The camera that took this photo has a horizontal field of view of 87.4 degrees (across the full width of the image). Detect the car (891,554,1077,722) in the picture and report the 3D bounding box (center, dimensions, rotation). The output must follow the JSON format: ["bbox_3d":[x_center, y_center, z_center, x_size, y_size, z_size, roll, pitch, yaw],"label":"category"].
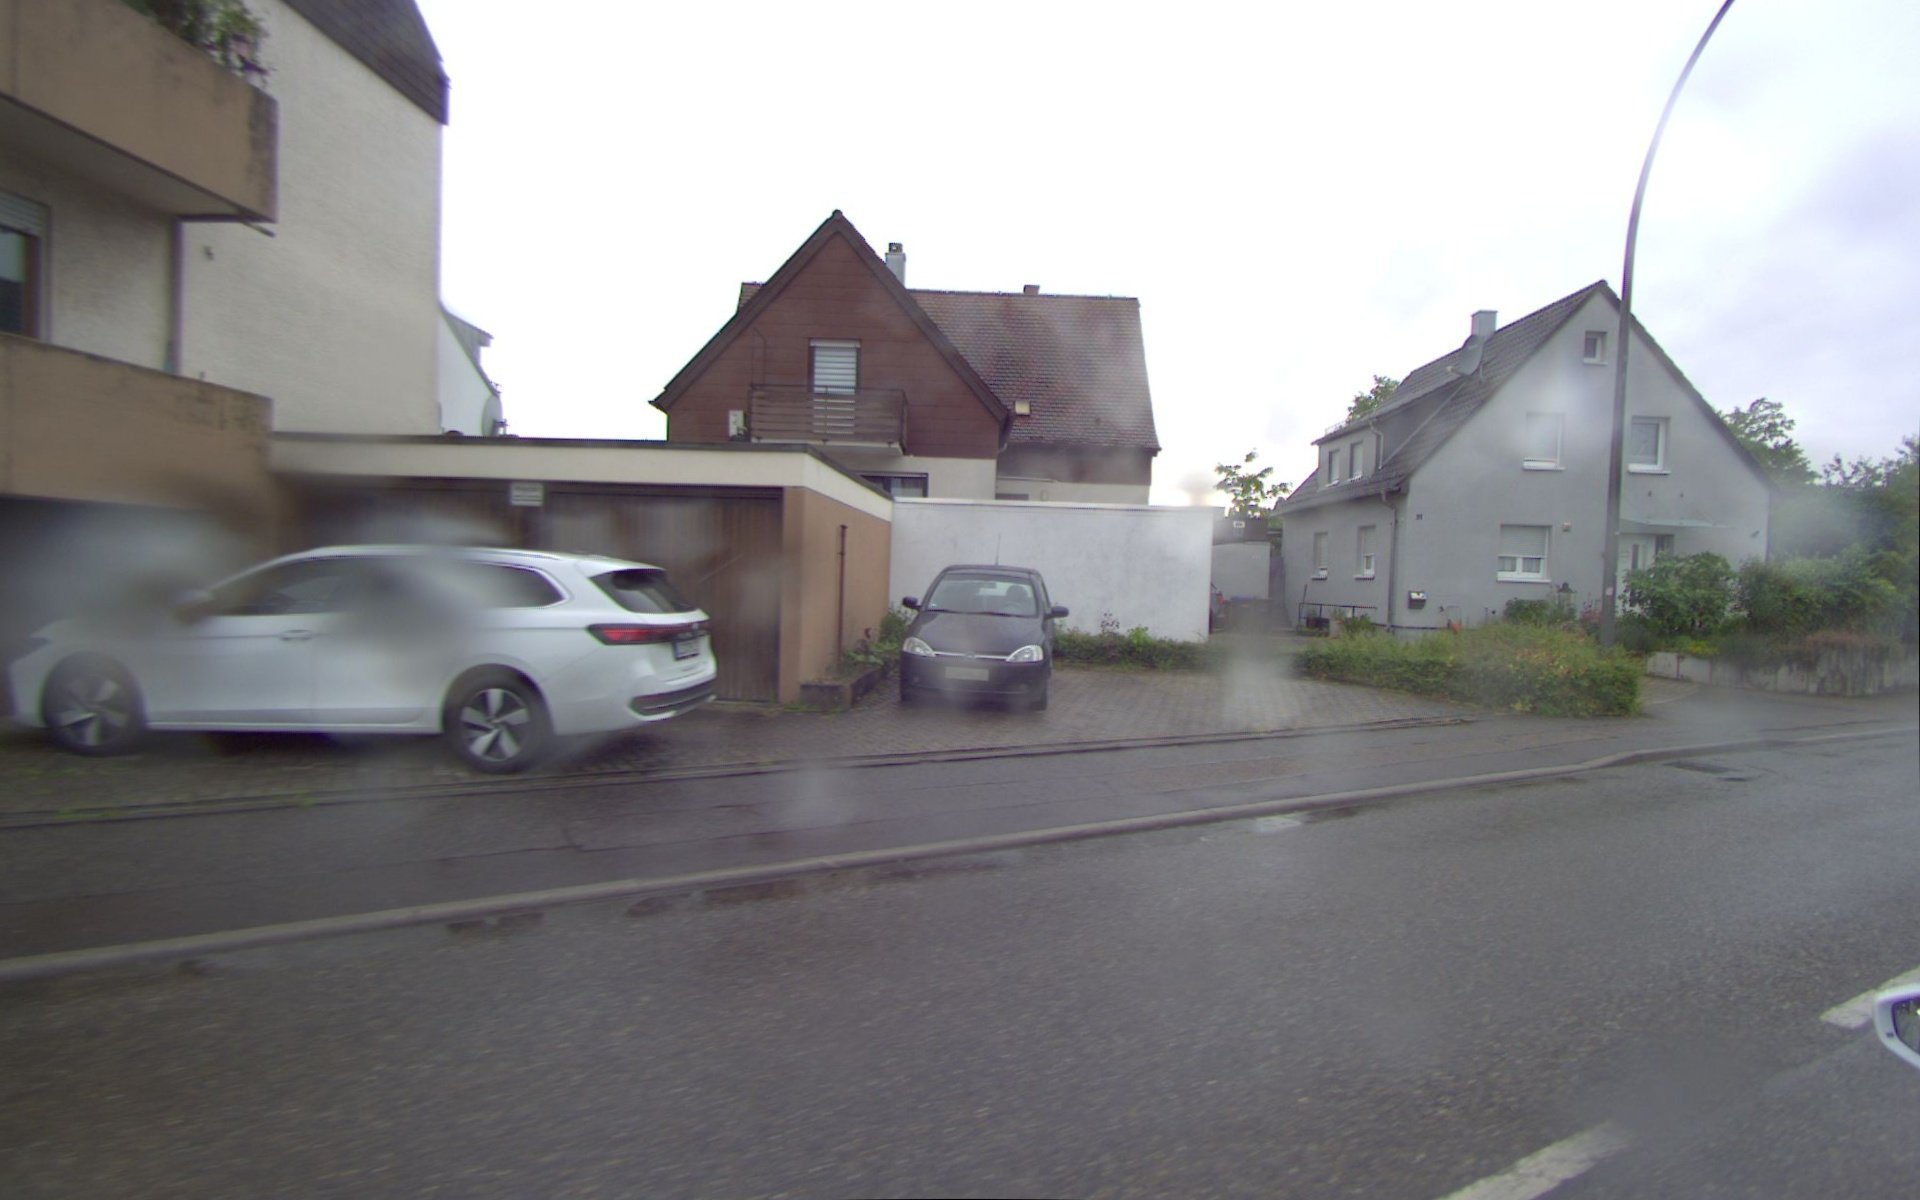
[{"bbox_3d":[0.437,0.280,11.701,1.667,1.528,3.775,3,4,8],"label":"car"}]

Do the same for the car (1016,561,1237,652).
[{"bbox_3d":[3.321,0.139,20.337,3.932,1.683,1.994,1,0,-14],"label":"car"}]

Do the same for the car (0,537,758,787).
[{"bbox_3d":[-4.129,0.350,7.520,4.784,1.497,1.907,2,3,3],"label":"car"}]

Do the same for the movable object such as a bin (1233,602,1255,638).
[{"bbox_3d":[8.464,0.595,29.974,0.535,1.028,0.494,1,1,6],"label":"movable object such as a bin"}]

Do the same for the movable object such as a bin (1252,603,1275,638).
[{"bbox_3d":[9.019,0.610,29.862,0.535,1.028,0.494,1,1,6],"label":"movable object such as a bin"}]

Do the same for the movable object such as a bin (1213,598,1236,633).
[{"bbox_3d":[7.924,0.462,30.119,0.565,1.028,0.528,1,1,6],"label":"movable object such as a bin"}]
